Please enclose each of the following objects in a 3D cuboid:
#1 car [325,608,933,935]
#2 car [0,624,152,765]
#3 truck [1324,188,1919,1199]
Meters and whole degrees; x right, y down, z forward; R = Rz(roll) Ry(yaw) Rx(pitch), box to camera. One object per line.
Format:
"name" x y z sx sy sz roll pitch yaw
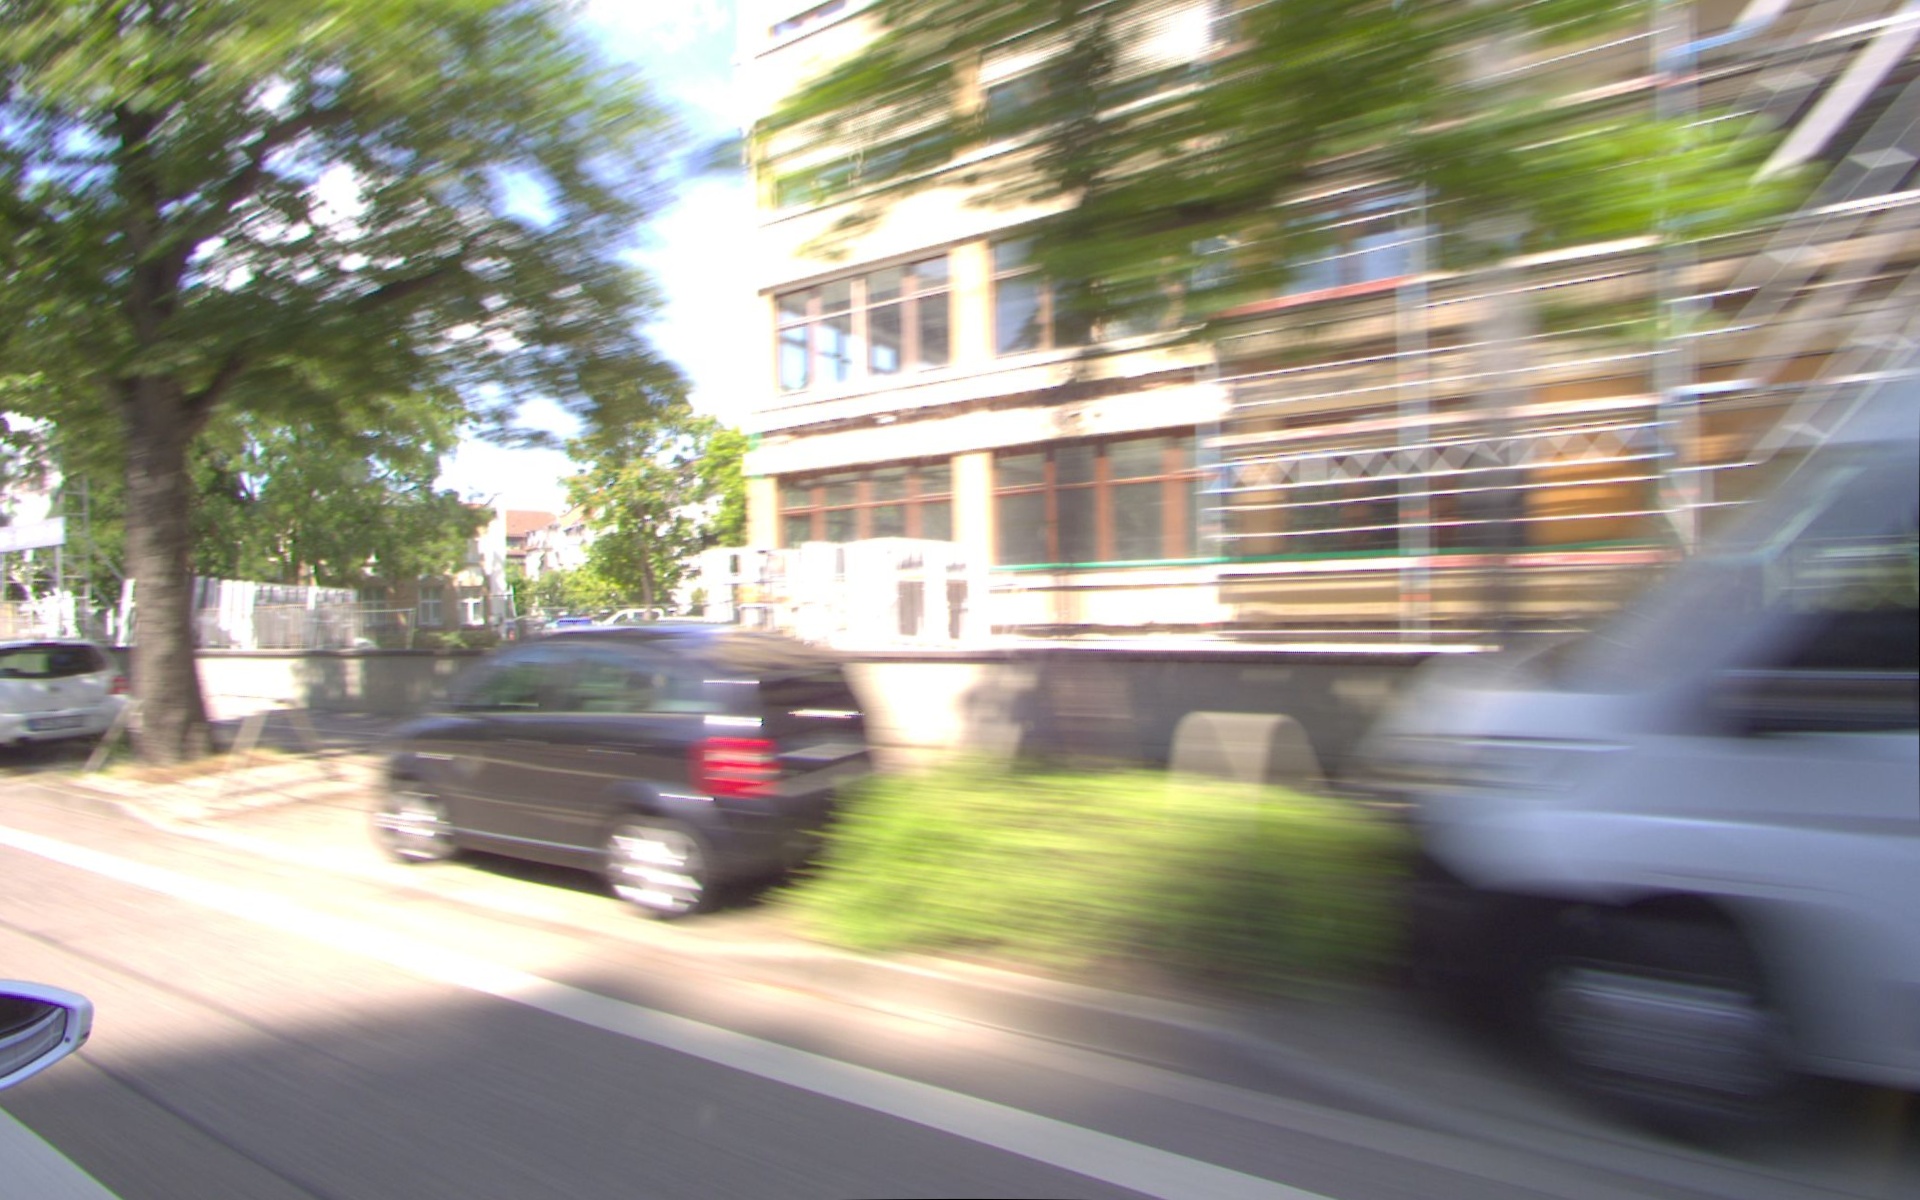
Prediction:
"car" -2.247 0.857 6.505 3.890 1.554 1.641 -1 0 32
"car" -12.032 1.107 12.778 3.733 1.554 1.640 -1 0 34
"truck" 4.192 0.224 2.560 5.868 2.521 2.011 -1 0 31
